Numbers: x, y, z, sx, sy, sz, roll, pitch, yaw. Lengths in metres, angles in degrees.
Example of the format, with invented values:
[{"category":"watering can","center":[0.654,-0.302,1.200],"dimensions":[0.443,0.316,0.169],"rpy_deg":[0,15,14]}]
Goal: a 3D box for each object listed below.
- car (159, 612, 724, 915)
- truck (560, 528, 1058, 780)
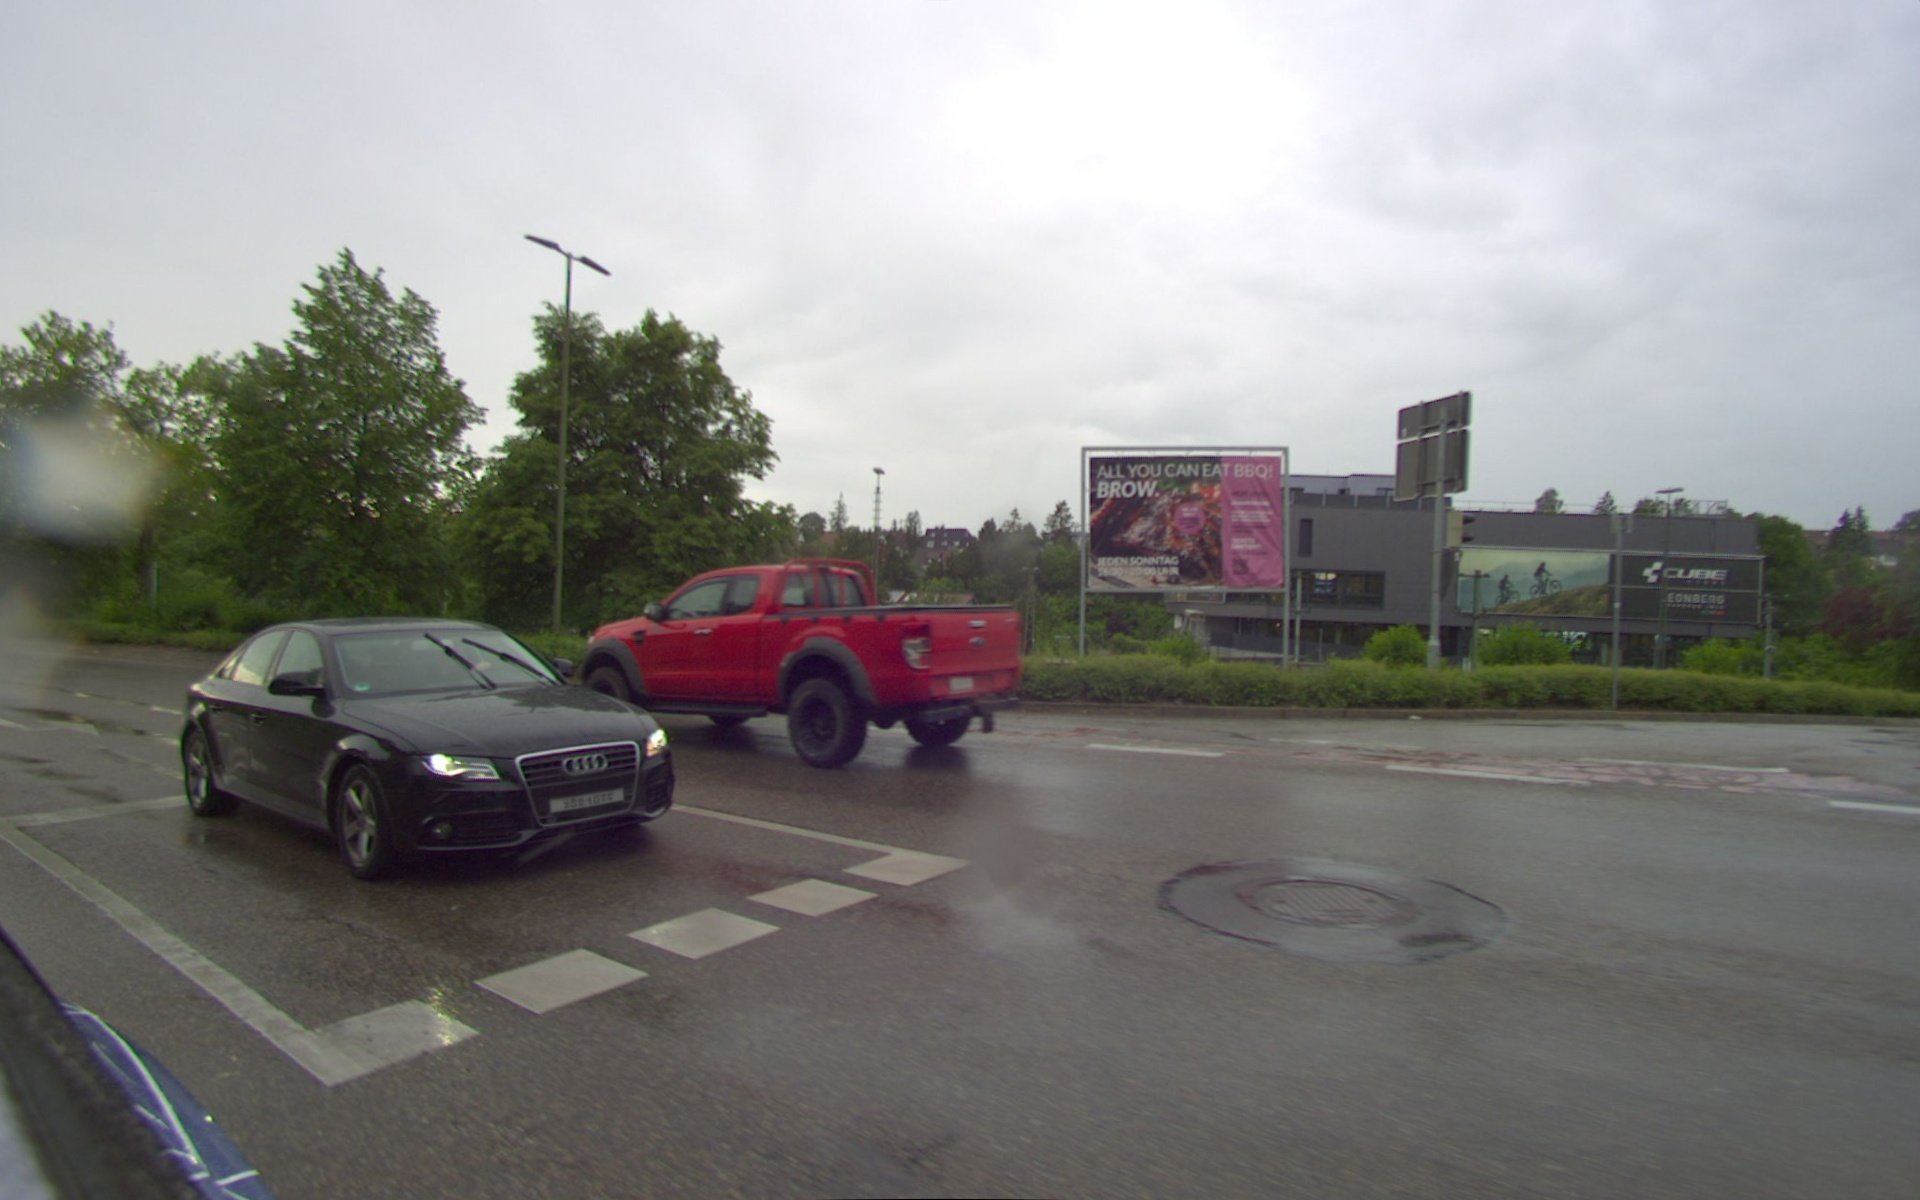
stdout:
[{"category":"car","center":[-3.563,0.797,6.695],"dimensions":[3.992,1.406,1.739],"rpy_deg":[0,-1,36]},{"category":"truck","center":[-1.775,0.482,10.562],"dimensions":[5.328,2.029,1.975],"rpy_deg":[-1,-1,37]}]
